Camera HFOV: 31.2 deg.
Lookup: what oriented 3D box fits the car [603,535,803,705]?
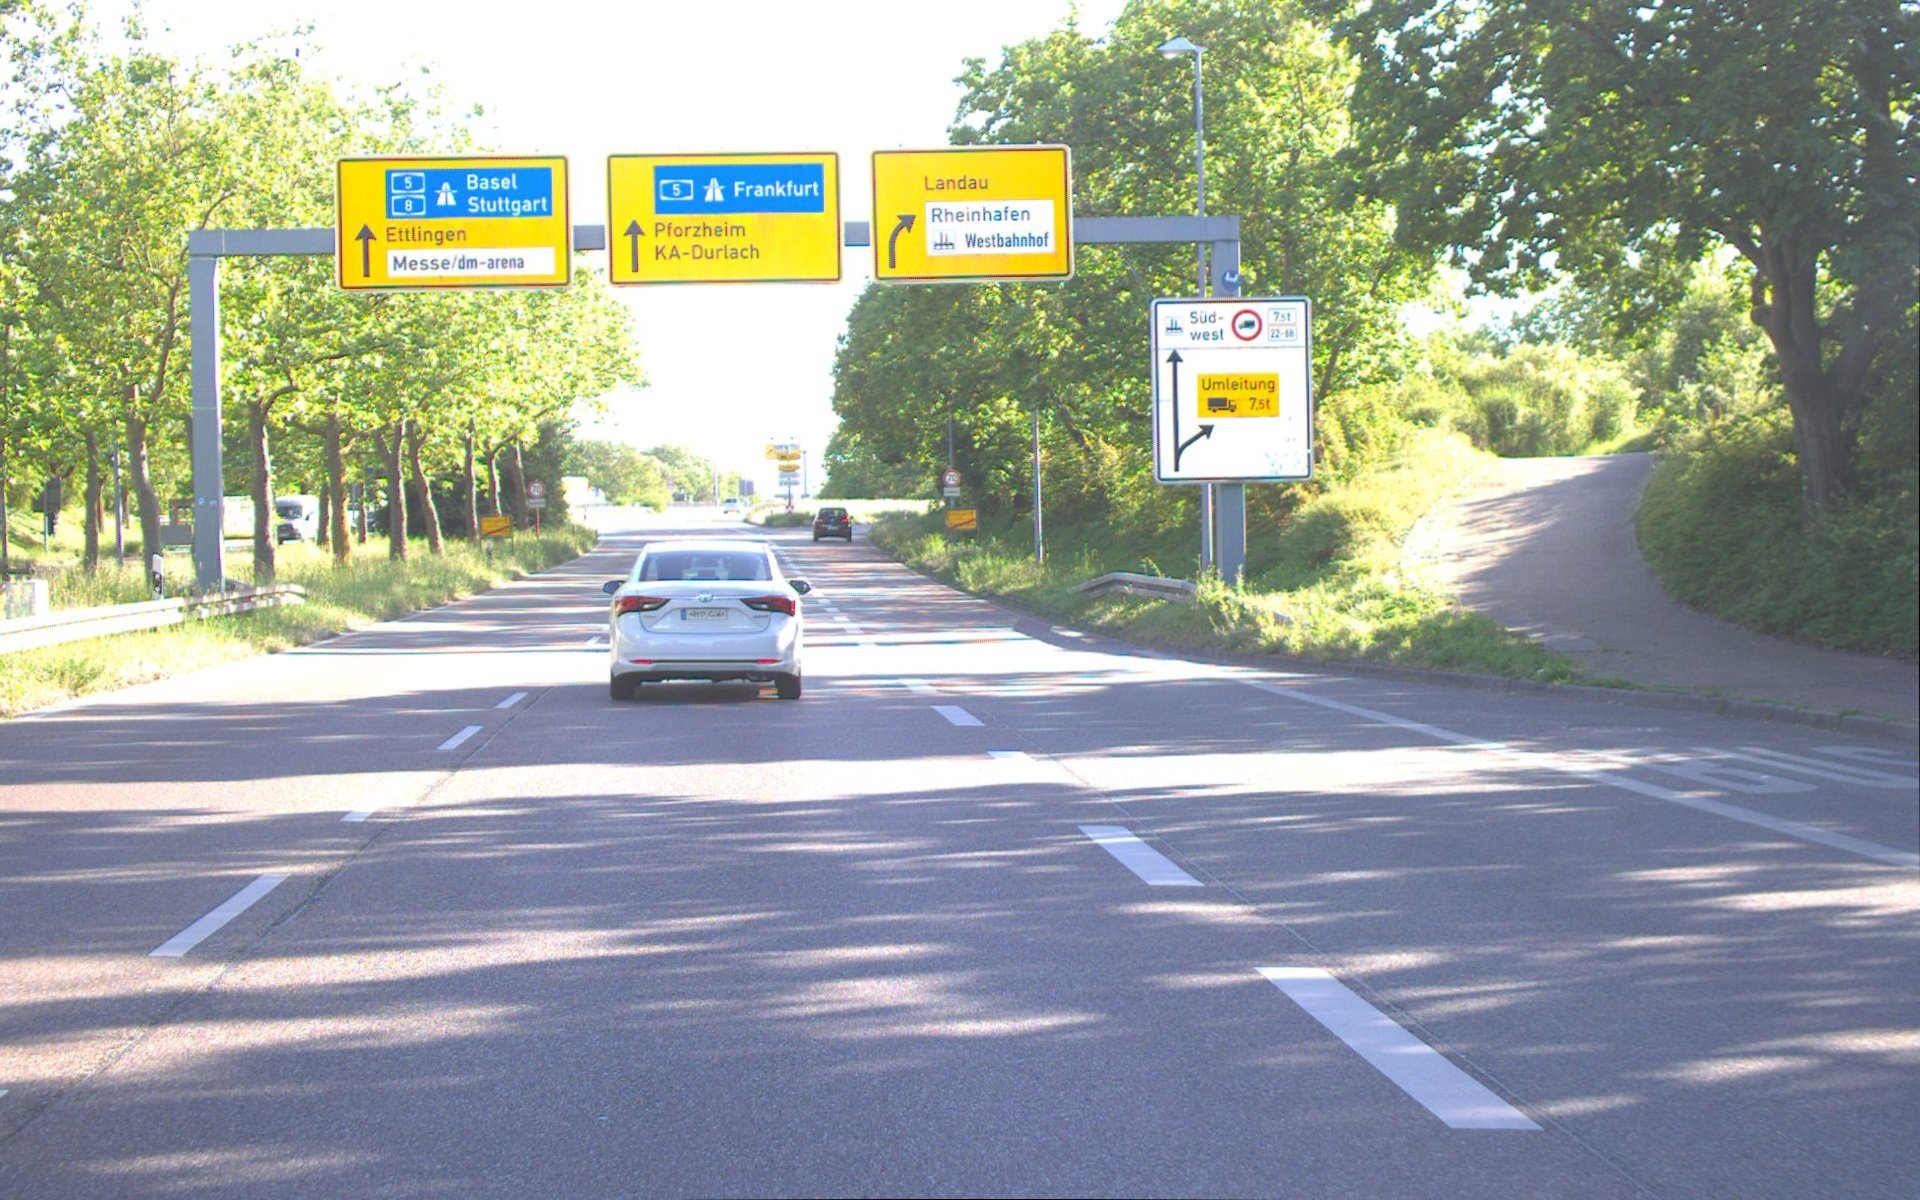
[{"bbox_3d":[-2.440,0.139,33.031,1.767,1.459,4.367,-1,2,-4],"label":"car"}]

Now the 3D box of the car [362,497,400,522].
[{"bbox_3d":[-35.118,-5.495,208.571,1.767,1.459,4.367,-1,2,-3],"label":"car"}]

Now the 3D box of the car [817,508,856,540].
[{"bbox_3d":[-5.822,-3.604,161.931,1.767,1.459,4.367,-1,2,-2],"label":"car"}]
